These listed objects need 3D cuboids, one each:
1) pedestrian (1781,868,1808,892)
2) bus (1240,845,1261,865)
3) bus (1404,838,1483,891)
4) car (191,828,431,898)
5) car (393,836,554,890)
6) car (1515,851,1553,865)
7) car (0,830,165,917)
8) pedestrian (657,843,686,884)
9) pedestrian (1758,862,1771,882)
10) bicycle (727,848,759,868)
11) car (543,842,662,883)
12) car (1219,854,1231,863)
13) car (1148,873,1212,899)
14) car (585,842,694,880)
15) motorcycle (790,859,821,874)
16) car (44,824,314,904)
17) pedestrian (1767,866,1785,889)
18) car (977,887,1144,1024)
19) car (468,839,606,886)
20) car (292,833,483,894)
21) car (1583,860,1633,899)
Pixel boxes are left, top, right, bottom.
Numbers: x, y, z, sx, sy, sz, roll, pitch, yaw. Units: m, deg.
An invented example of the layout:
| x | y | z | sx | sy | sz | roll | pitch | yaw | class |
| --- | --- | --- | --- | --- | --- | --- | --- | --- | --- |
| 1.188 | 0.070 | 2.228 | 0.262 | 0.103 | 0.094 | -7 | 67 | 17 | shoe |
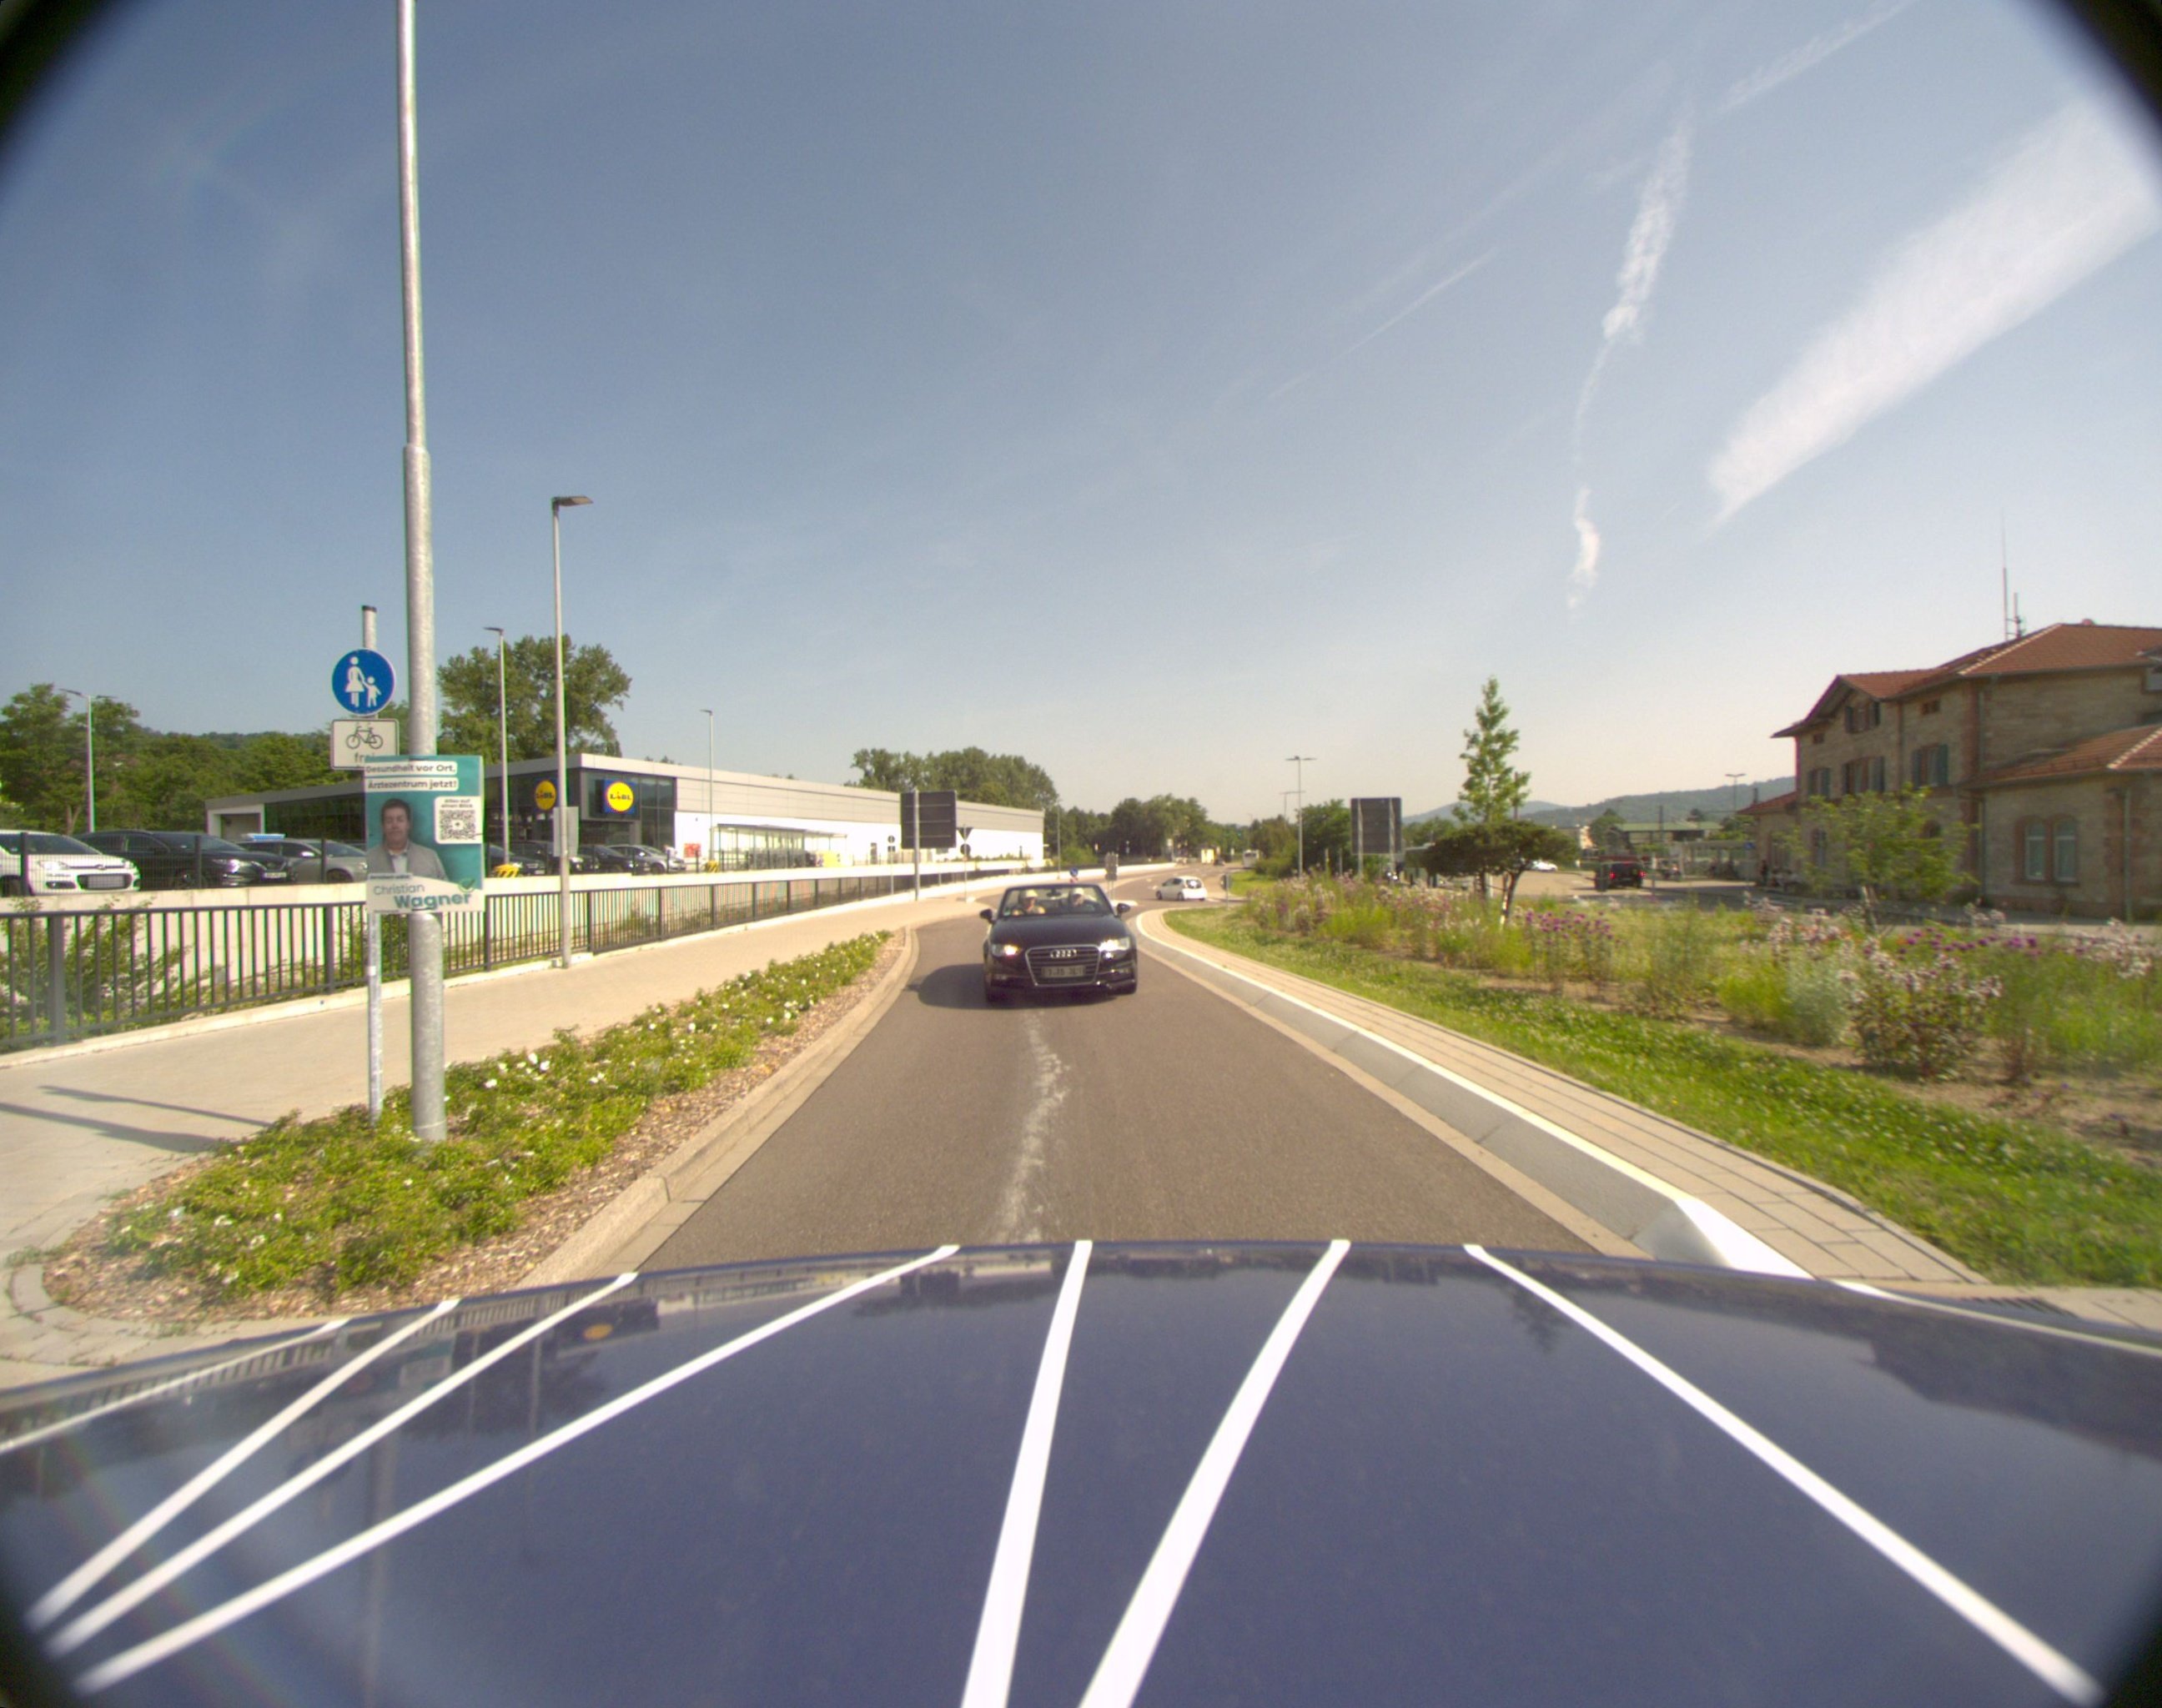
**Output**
| x | y | z | sx | sy | sz | roll | pitch | yaw | class |
| --- | --- | --- | --- | --- | --- | --- | --- | --- | --- |
| 35.393 | 1.287 | 37.698 | 0.789 | 1.155 | 0.507 | -3 | 0 | 23 | pedestrian |
| 27.655 | 0.126 | 123.709 | 2.864 | 3.173 | 9.128 | -2 | 0 | 15 | bus |
| 25.517 | 0.649 | 54.127 | 2.584 | 3.309 | 10.599 | -3 | 0 | 12 | bus |
| -20.300 | 0.228 | 20.180 | 4.414 | 1.564 | 1.704 | -3 | 0 | -3 | car |
| -20.712 | 0.296 | 26.033 | 3.998 | 1.564 | 1.704 | -3 | 0 | -3 | car |
| 60.540 | 0.543 | 101.600 | 3.996 | 1.717 | 1.839 | -3 | 0 | 3 | car |
| -20.926 | 0.446 | 14.747 | 3.998 | 1.564 | 1.704 | -3 | 0 | -3 | car |
| -20.487 | 0.471 | 38.011 | 0.832 | 2.002 | 0.864 | -3 | 0 | 13 | pedestrian |
| 39.250 | 1.038 | 43.622 | 0.371 | 1.155 | 0.507 | -3 | 0 | 23 | pedestrian |
| -19.743 | 0.236 | 44.377 | 0.626 | 1.087 | 1.880 | -3 | 0 | 15 | bicycle |
| -20.919 | 0.365 | 33.324 | 3.998 | 1.564 | 1.704 | -3 | 0 | -3 | car |
| 28.840 | 0.926 | 152.230 | 1.884 | 1.783 | 4.001 | -3 | 0 | 3 | car |
| 5.893 | 1.896 | 45.659 | 1.784 | 1.390 | 3.992 | -3 | 0 | -28 | car |
| -21.119 | 0.344 | 36.497 | 4.129 | 1.564 | 1.704 | -3 | 0 | -3 | car |
| -18.220 | 0.822 | 50.302 | 1.880 | 0.858 | 0.626 | -3 | 0 | -20 | motorcycle |
| -20.724 | 0.230 | 17.595 | 3.998 | 1.564 | 1.704 | -3 | 0 | -3 | car |
| 36.344 | 1.235 | 39.717 | 0.511 | 1.155 | 0.507 | -3 | 0 | 23 | pedestrian |
| -0.398 | 1.157 | 10.132 | 1.722 | 1.314 | 4.223 | -2 | -2 | -5 | car |
| -20.908 | 0.333 | 29.321 | 3.998 | 1.564 | 1.704 | -3 | 0 | -3 | car |
| -20.709 | 0.271 | 22.811 | 3.998 | 1.564 | 1.704 | -3 | 0 | -3 | car |
| 30.466 | 1.411 | 44.052 | 1.973 | 1.953 | 5.167 | -3 | 0 | 31 | car |
